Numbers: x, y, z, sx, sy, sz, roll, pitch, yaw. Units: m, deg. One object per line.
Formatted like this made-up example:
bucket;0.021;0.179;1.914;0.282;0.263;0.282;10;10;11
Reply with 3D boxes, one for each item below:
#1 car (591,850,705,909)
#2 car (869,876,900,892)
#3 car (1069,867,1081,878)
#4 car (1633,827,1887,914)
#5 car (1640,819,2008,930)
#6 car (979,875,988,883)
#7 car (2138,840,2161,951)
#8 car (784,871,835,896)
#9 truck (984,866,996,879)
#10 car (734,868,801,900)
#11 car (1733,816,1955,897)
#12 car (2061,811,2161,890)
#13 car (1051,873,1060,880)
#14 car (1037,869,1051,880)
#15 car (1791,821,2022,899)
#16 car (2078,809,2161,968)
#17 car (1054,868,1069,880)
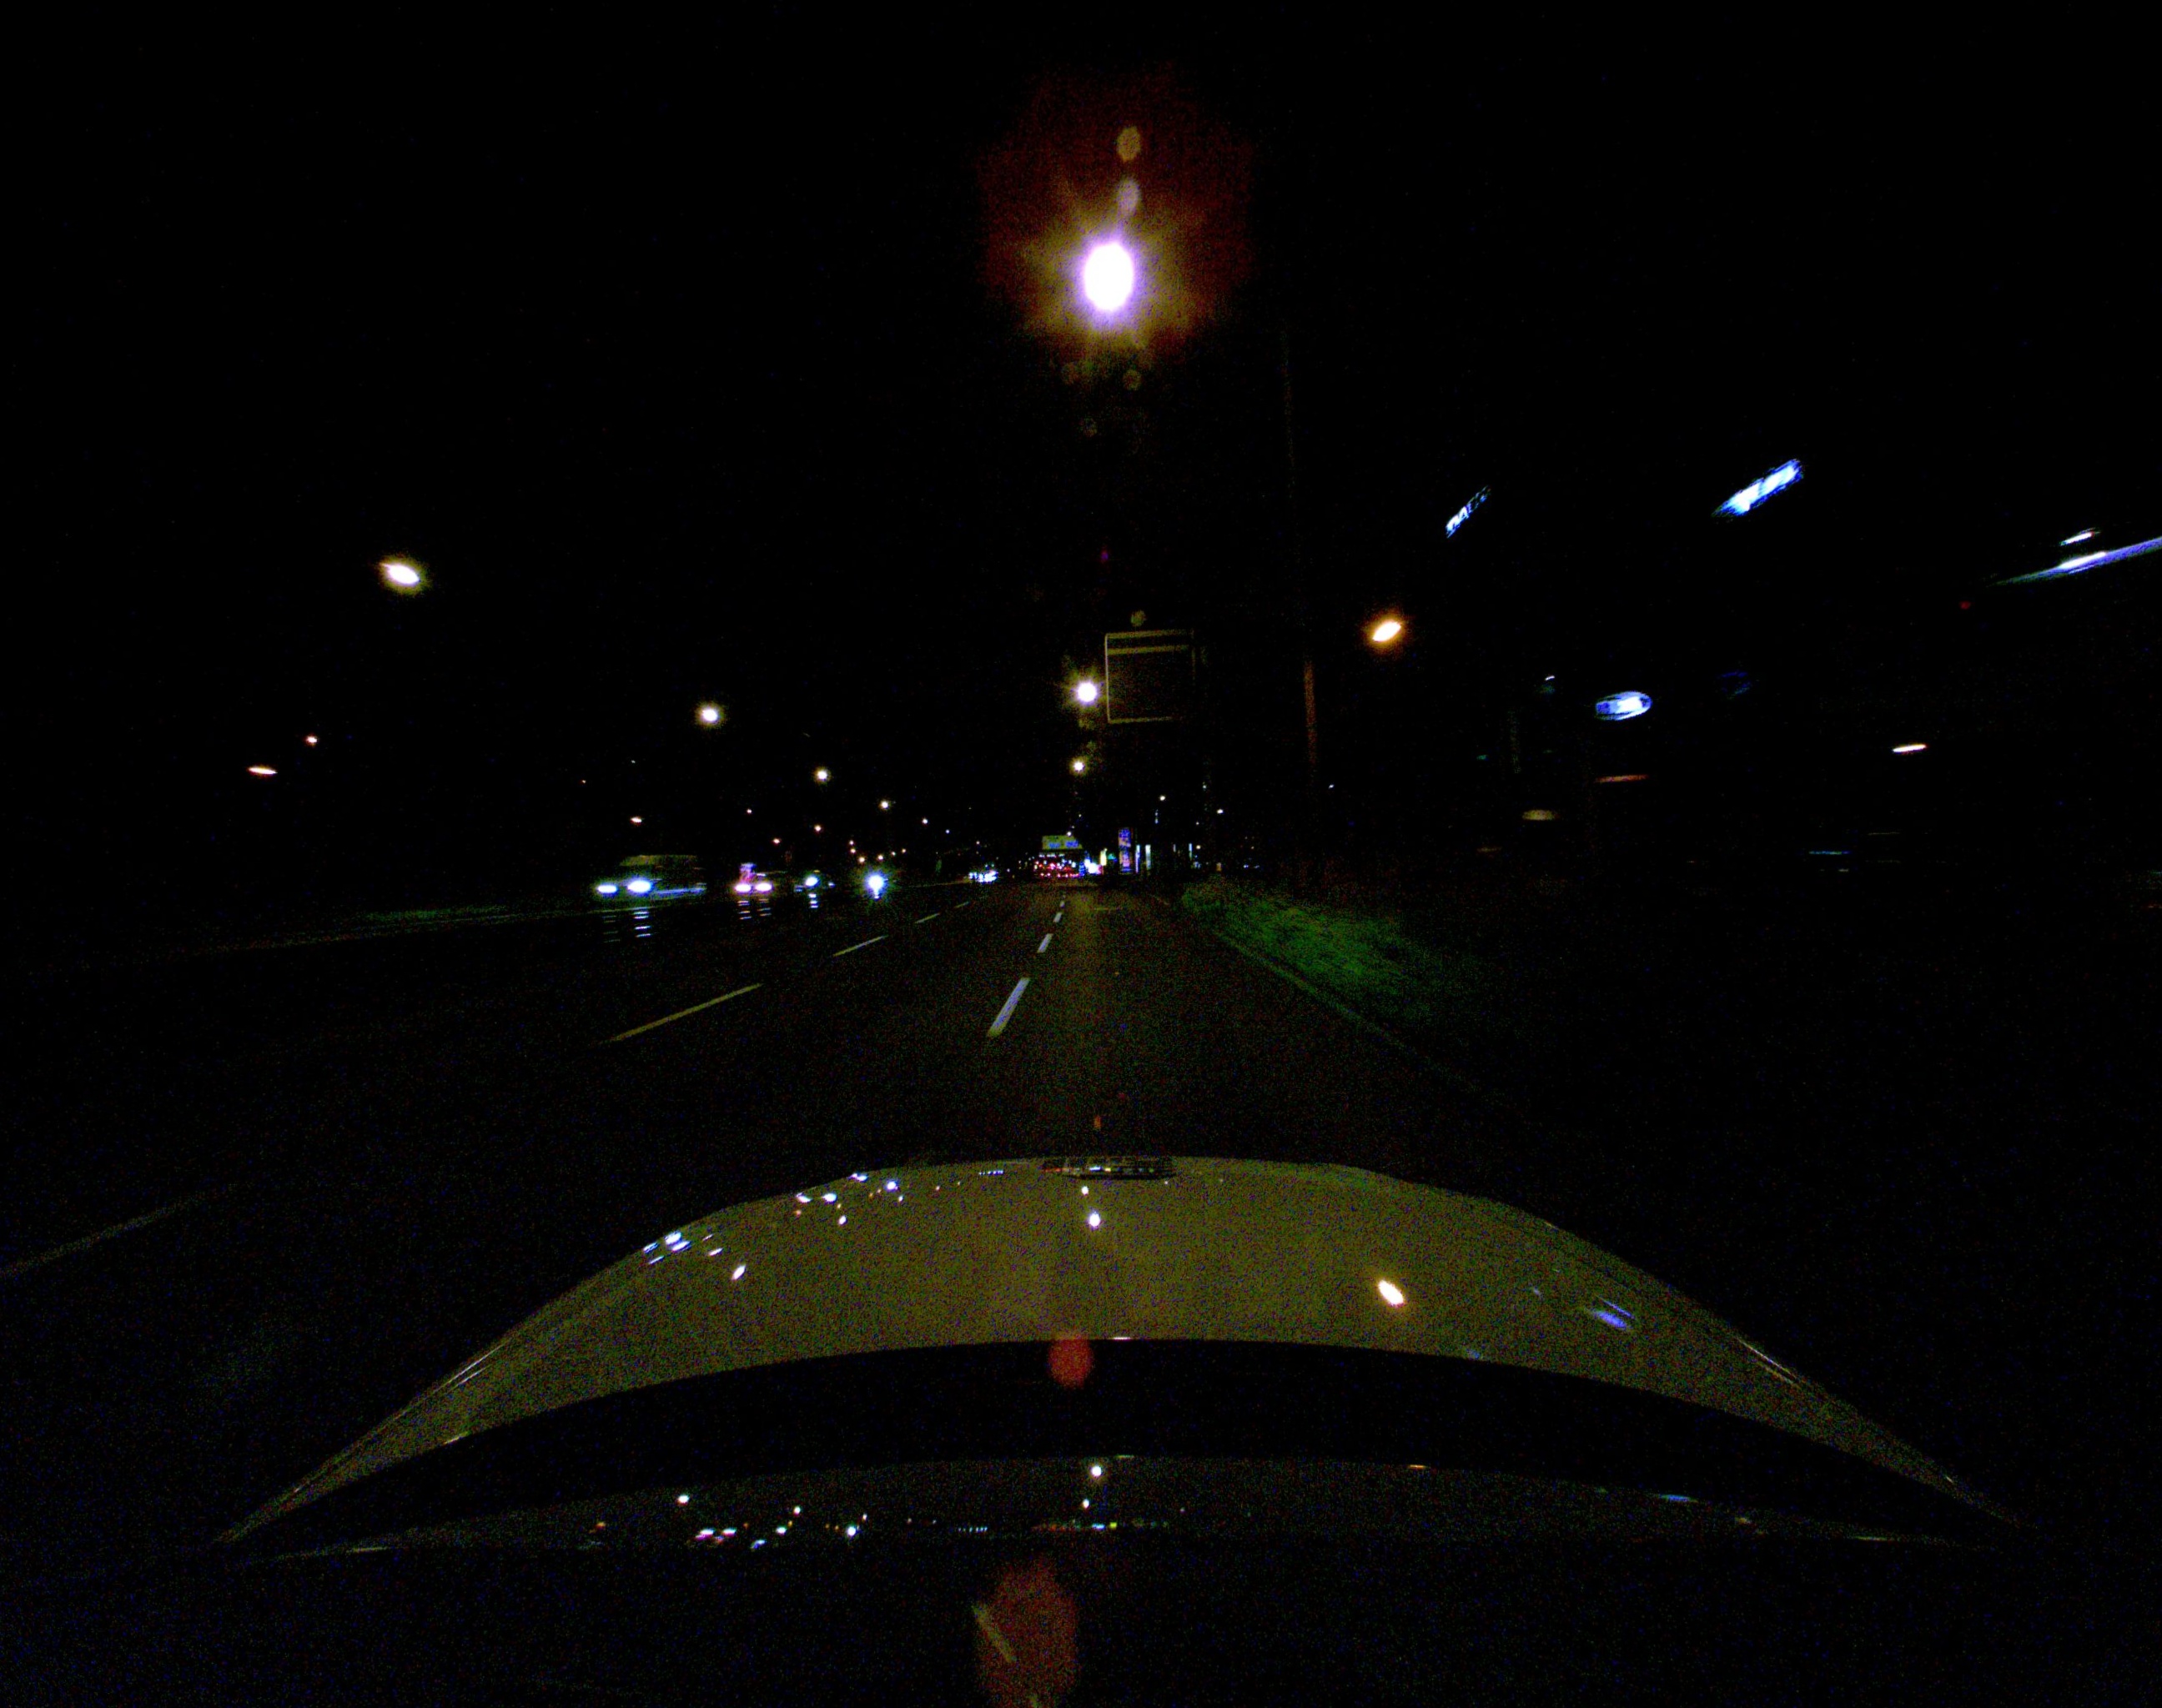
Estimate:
car;-22.468;1.291;42.744;2.139;2.671;6.959;-4;-1;-1
car;-19.313;2.970;80.105;1.860;1.429;4.955;-1;-1;-1
car;-1.264;3.934;173.980;2.418;2.113;4.828;-1;-1;2
car;18.059;0.426;22.174;1.989;2.014;5.620;-1;-1;-3
car;10.649;0.257;11.791;4.124;1.420;1.869;-1;-1;-12
car;-25.056;6.375;208.579;1.858;1.750;3.698;-1;-1;-2
car;15.610;0.412;9.177;1.785;1.409;4.295;-1;-3;-32
car;-18.951;2.017;57.091;1.855;1.514;4.614;-3;-1;1
truck;-27.681;5.502;247.138;3.032;3.819;4.932;-1;-1;-1
car;-15.968;1.515;41.711;1.614;1.440;4.339;-3;-1;1
car;20.930;0.093;22.647;1.808;1.994;4.402;-1;-1;-4
car;29.179;-0.111;22.015;3.702;2.014;1.743;-1;-1;-8
car;-5.865;5.165;189.176;1.988;1.553;3.998;-1;-1;-1
car;-6.935;3.817;152.556;2.254;2.014;4.828;-1;-1;2
car;23.321;0.186;23.294;1.948;1.994;4.402;-1;-1;-4
car;10.912;0.208;6.874;4.649;1.264;1.933;-2;0;-23
car;-3.496;3.652;148.328;2.347;2.129;4.828;-1;-1;2
